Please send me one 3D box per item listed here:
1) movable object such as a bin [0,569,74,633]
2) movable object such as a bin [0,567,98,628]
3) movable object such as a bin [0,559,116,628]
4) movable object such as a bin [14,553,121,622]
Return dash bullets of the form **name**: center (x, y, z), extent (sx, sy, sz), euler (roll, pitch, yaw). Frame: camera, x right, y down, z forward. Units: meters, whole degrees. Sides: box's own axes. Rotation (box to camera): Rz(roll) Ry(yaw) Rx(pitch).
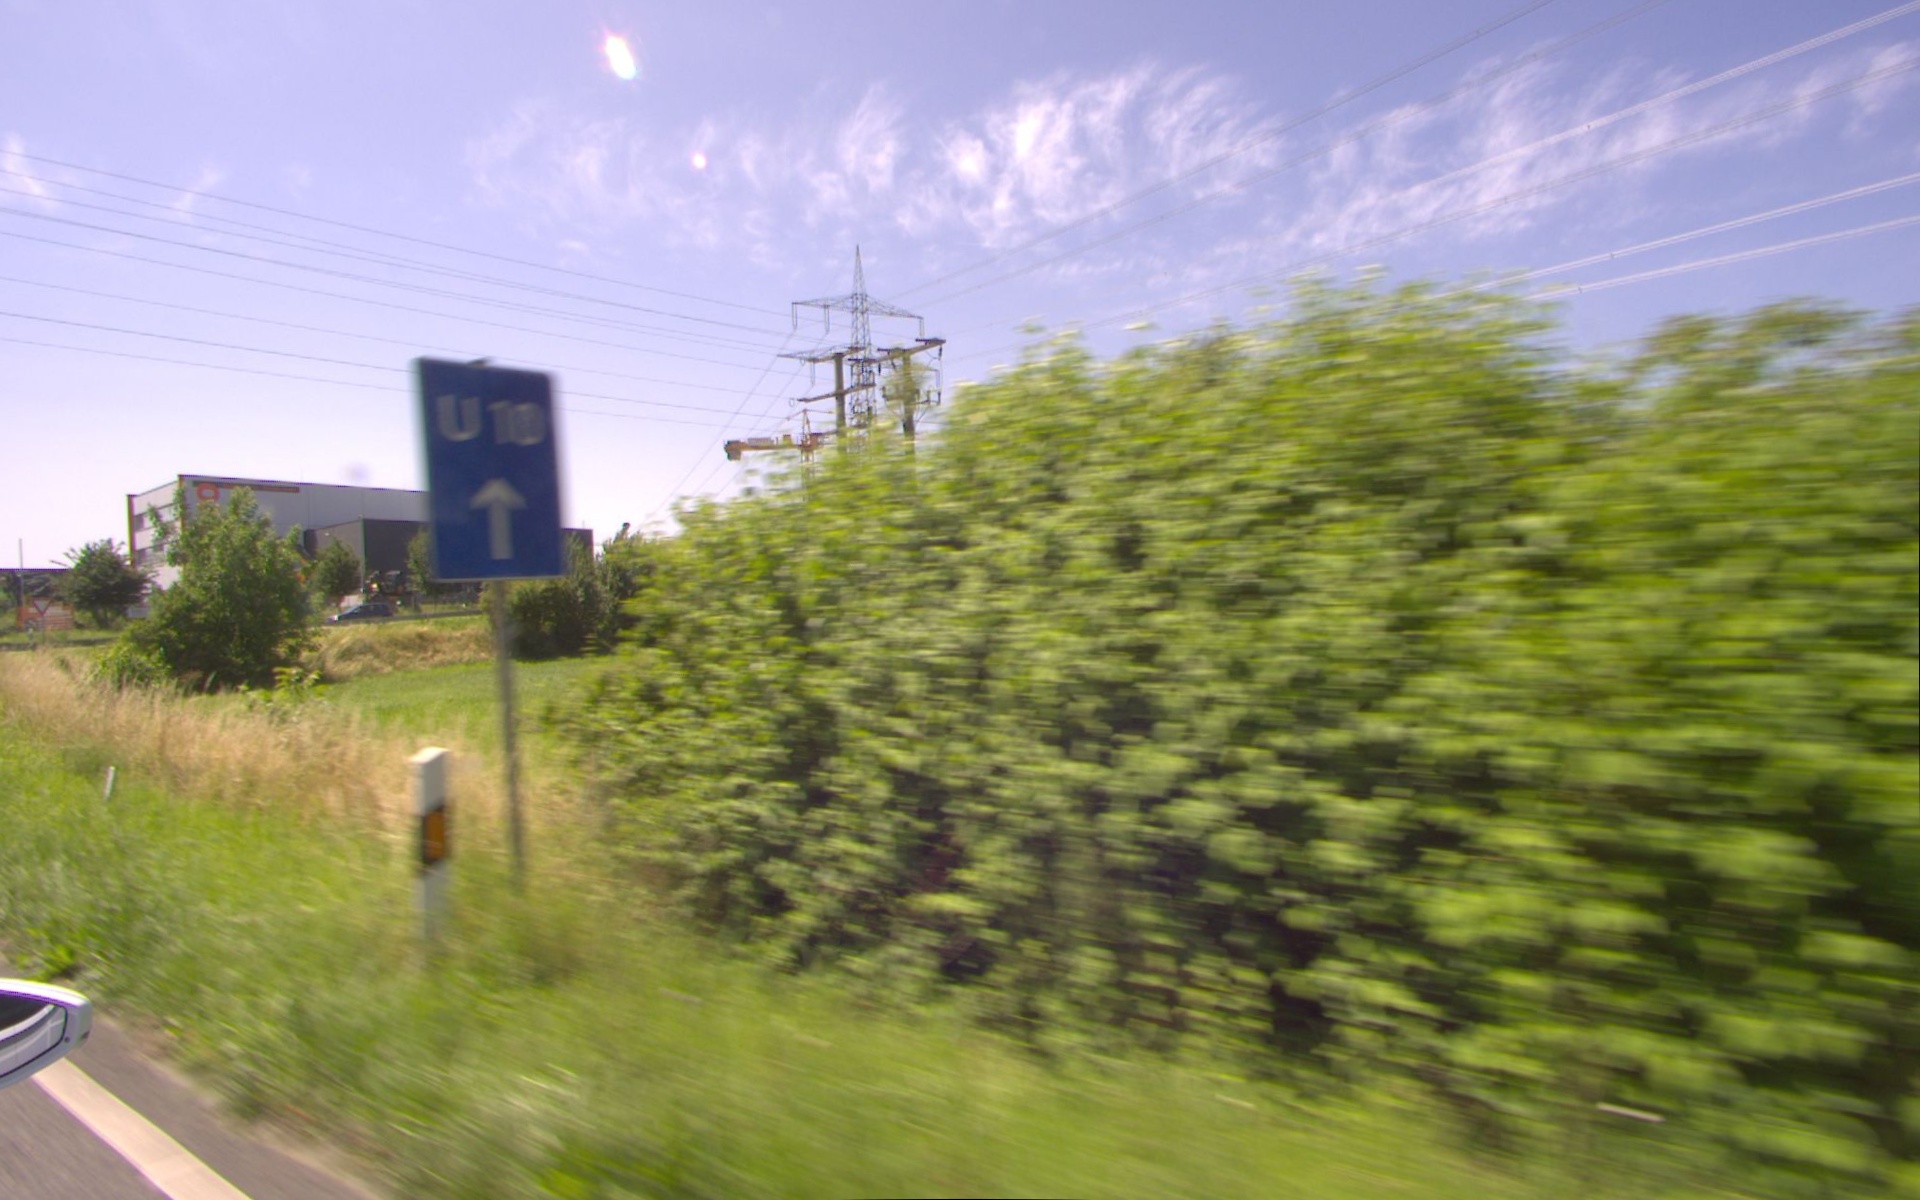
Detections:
- **movable object such as a bin**: center (-81.253, 0.131, 87.186), extent (3.183, 5.335, 5.695), euler (-3, -2, 38)
- **movable object such as a bin**: center (-68.398, -0.135, 75.197), extent (2.800, 4.328, 5.066), euler (-3, -2, 38)
- **movable object such as a bin**: center (-73.997, -0.443, 82.164), extent (3.761, 5.212, 6.566), euler (-3, -2, 38)
- **movable object such as a bin**: center (-71.004, -0.902, 79.747), extent (3.071, 5.169, 5.896), euler (-3, -2, 38)
